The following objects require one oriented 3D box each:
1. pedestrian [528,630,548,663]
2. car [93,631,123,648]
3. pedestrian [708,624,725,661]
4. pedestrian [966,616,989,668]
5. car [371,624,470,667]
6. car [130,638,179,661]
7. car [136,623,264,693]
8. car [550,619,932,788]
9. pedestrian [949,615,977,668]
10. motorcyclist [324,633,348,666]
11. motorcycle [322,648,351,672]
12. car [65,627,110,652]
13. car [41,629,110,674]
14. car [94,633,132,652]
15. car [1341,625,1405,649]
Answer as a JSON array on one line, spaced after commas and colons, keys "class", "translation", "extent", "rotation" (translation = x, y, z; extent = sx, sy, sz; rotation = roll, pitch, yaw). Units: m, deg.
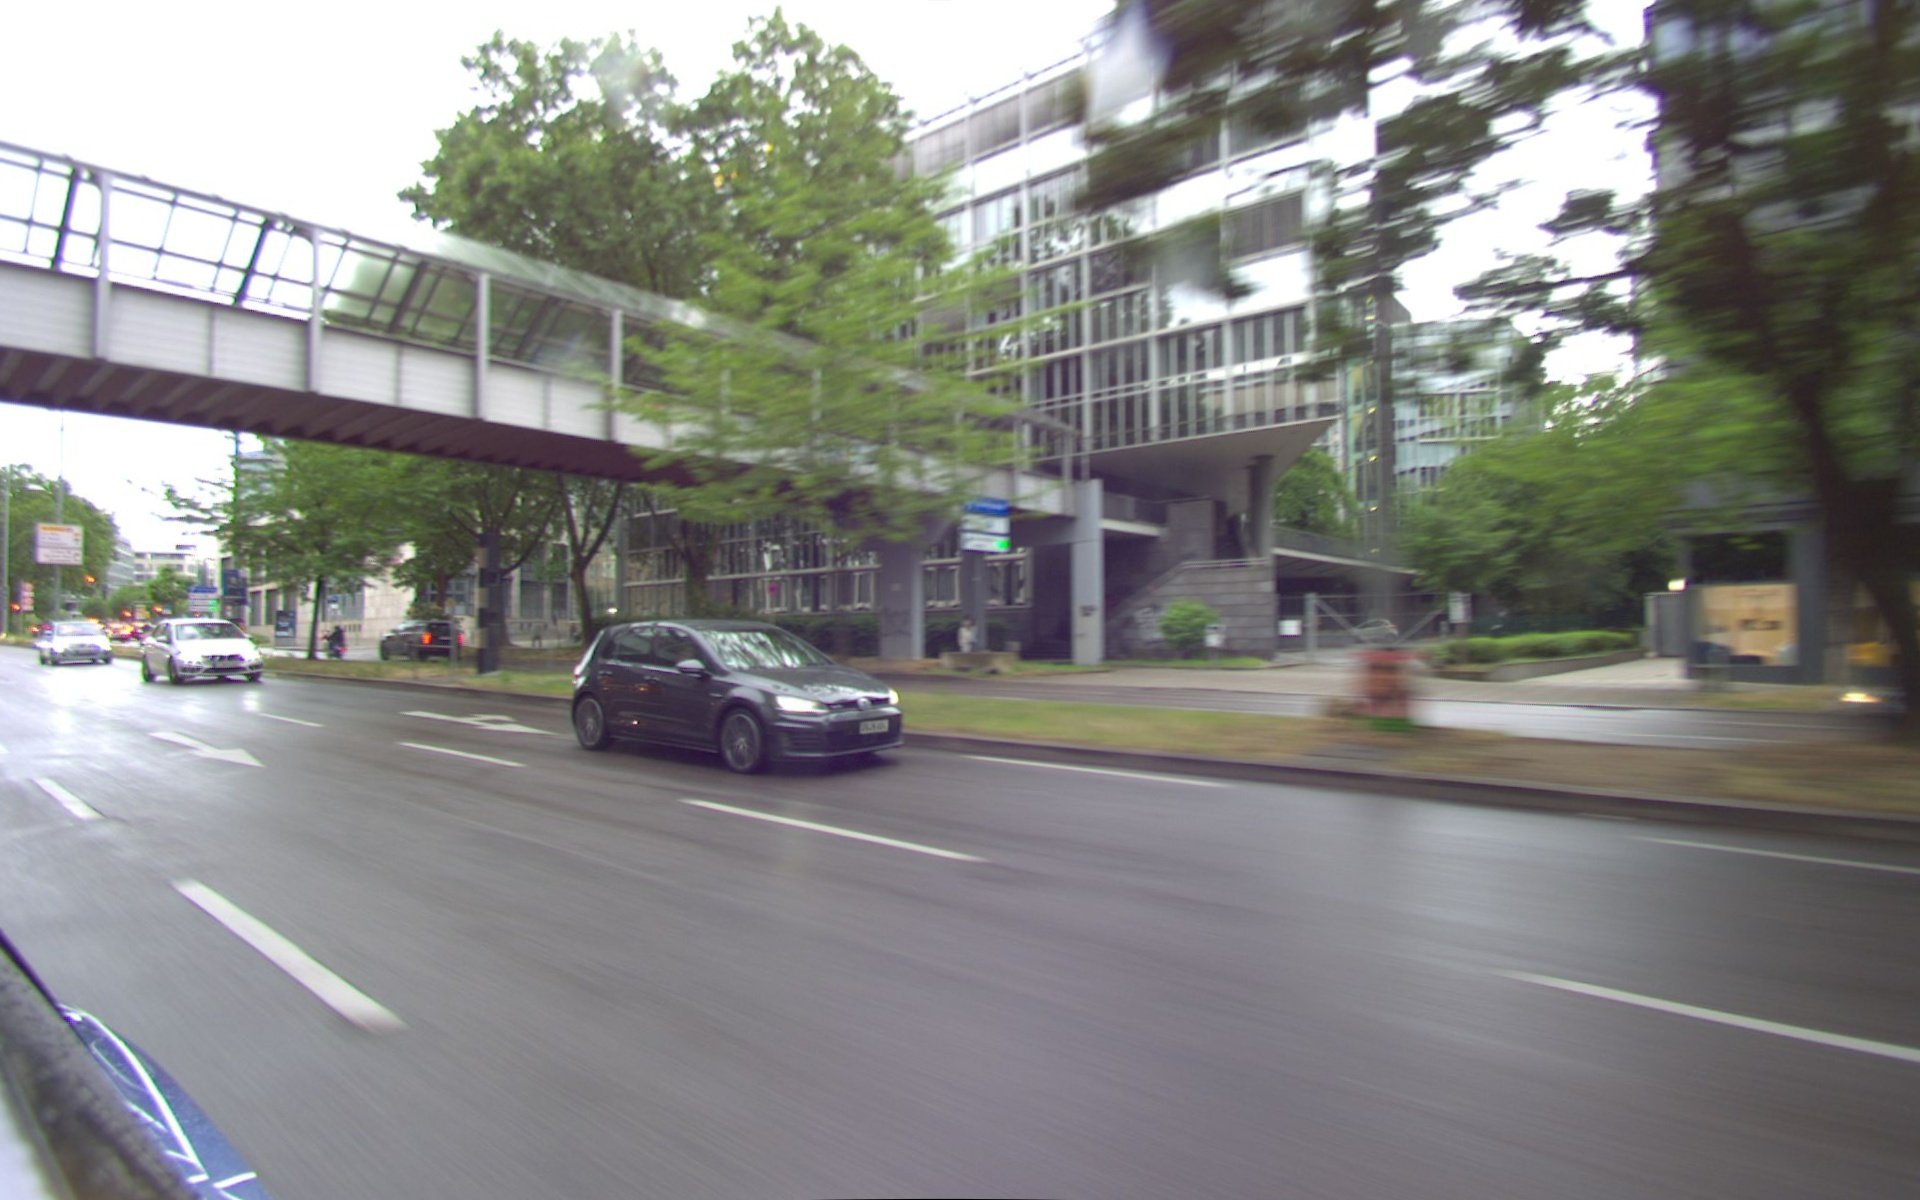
[{"class": "pedestrian", "translation": [-23.309, 2.554, 55.895], "extent": [0.802, 1.821, 0.727], "rotation": [-3, -3, 41]}, {"class": "car", "translation": [-76.980, 3.528, 91.416], "extent": [4.397, 1.443, 1.707], "rotation": [-1, -2, 45]}, {"class": "pedestrian", "translation": [-11.022, 1.918, 45.776], "extent": [0.511, 1.699, 0.553], "rotation": [-3, -3, 41]}, {"class": "pedestrian", "translation": [0.617, 1.475, 35.919], "extent": [0.511, 1.821, 0.599], "rotation": [-3, -3, 41]}, {"class": "car", "translation": [-24.315, 2.059, 45.531], "extent": [5.180, 1.782, 1.980], "rotation": [-2, -5, 39]}, {"class": "car", "translation": [-53.818, 3.286, 67.598], "extent": [4.077, 1.475, 1.645], "rotation": [-1, -4, 39]}, {"class": "car", "translation": [-19.107, 1.378, 25.378], "extent": [3.998, 1.608, 1.758], "rotation": [-1, -2, 41]}, {"class": "car", "translation": [-2.438, 0.963, 10.757], "extent": [4.117, 1.463, 1.767], "rotation": [-2, -2, 38]}, {"class": "pedestrian", "translation": [0.101, 1.444, 35.347], "extent": [0.759, 1.821, 0.590], "rotation": [-3, -3, 41]}, {"class": "motorcyclist", "translation": [-27.669, 2.202, 44.897], "extent": [0.969, 1.429, 0.631], "rotation": [-1, -2, 42]}, {"class": "motorcycle", "translation": [-27.618, 2.649, 44.821], "extent": [1.804, 1.029, 0.578], "rotation": [-2, -2, 42]}, {"class": "car", "translation": [-63.165, 2.832, 73.234], "extent": [4.679, 1.693, 1.854], "rotation": [-1, -2, 41]}, {"class": "car", "translation": [-31.820, 1.817, 36.362], "extent": [3.495, 1.452, 1.590], "rotation": [-2, 0, 44]}, {"class": "car", "translation": [-69.617, 3.473, 83.130], "extent": [4.757, 1.449, 1.673], "rotation": [-1, -2, 42]}, {"class": "car", "translation": [25.915, 2.306, 63.622], "extent": [3.458, 1.434, 1.607], "rotation": [-1, -2, 12]}]
